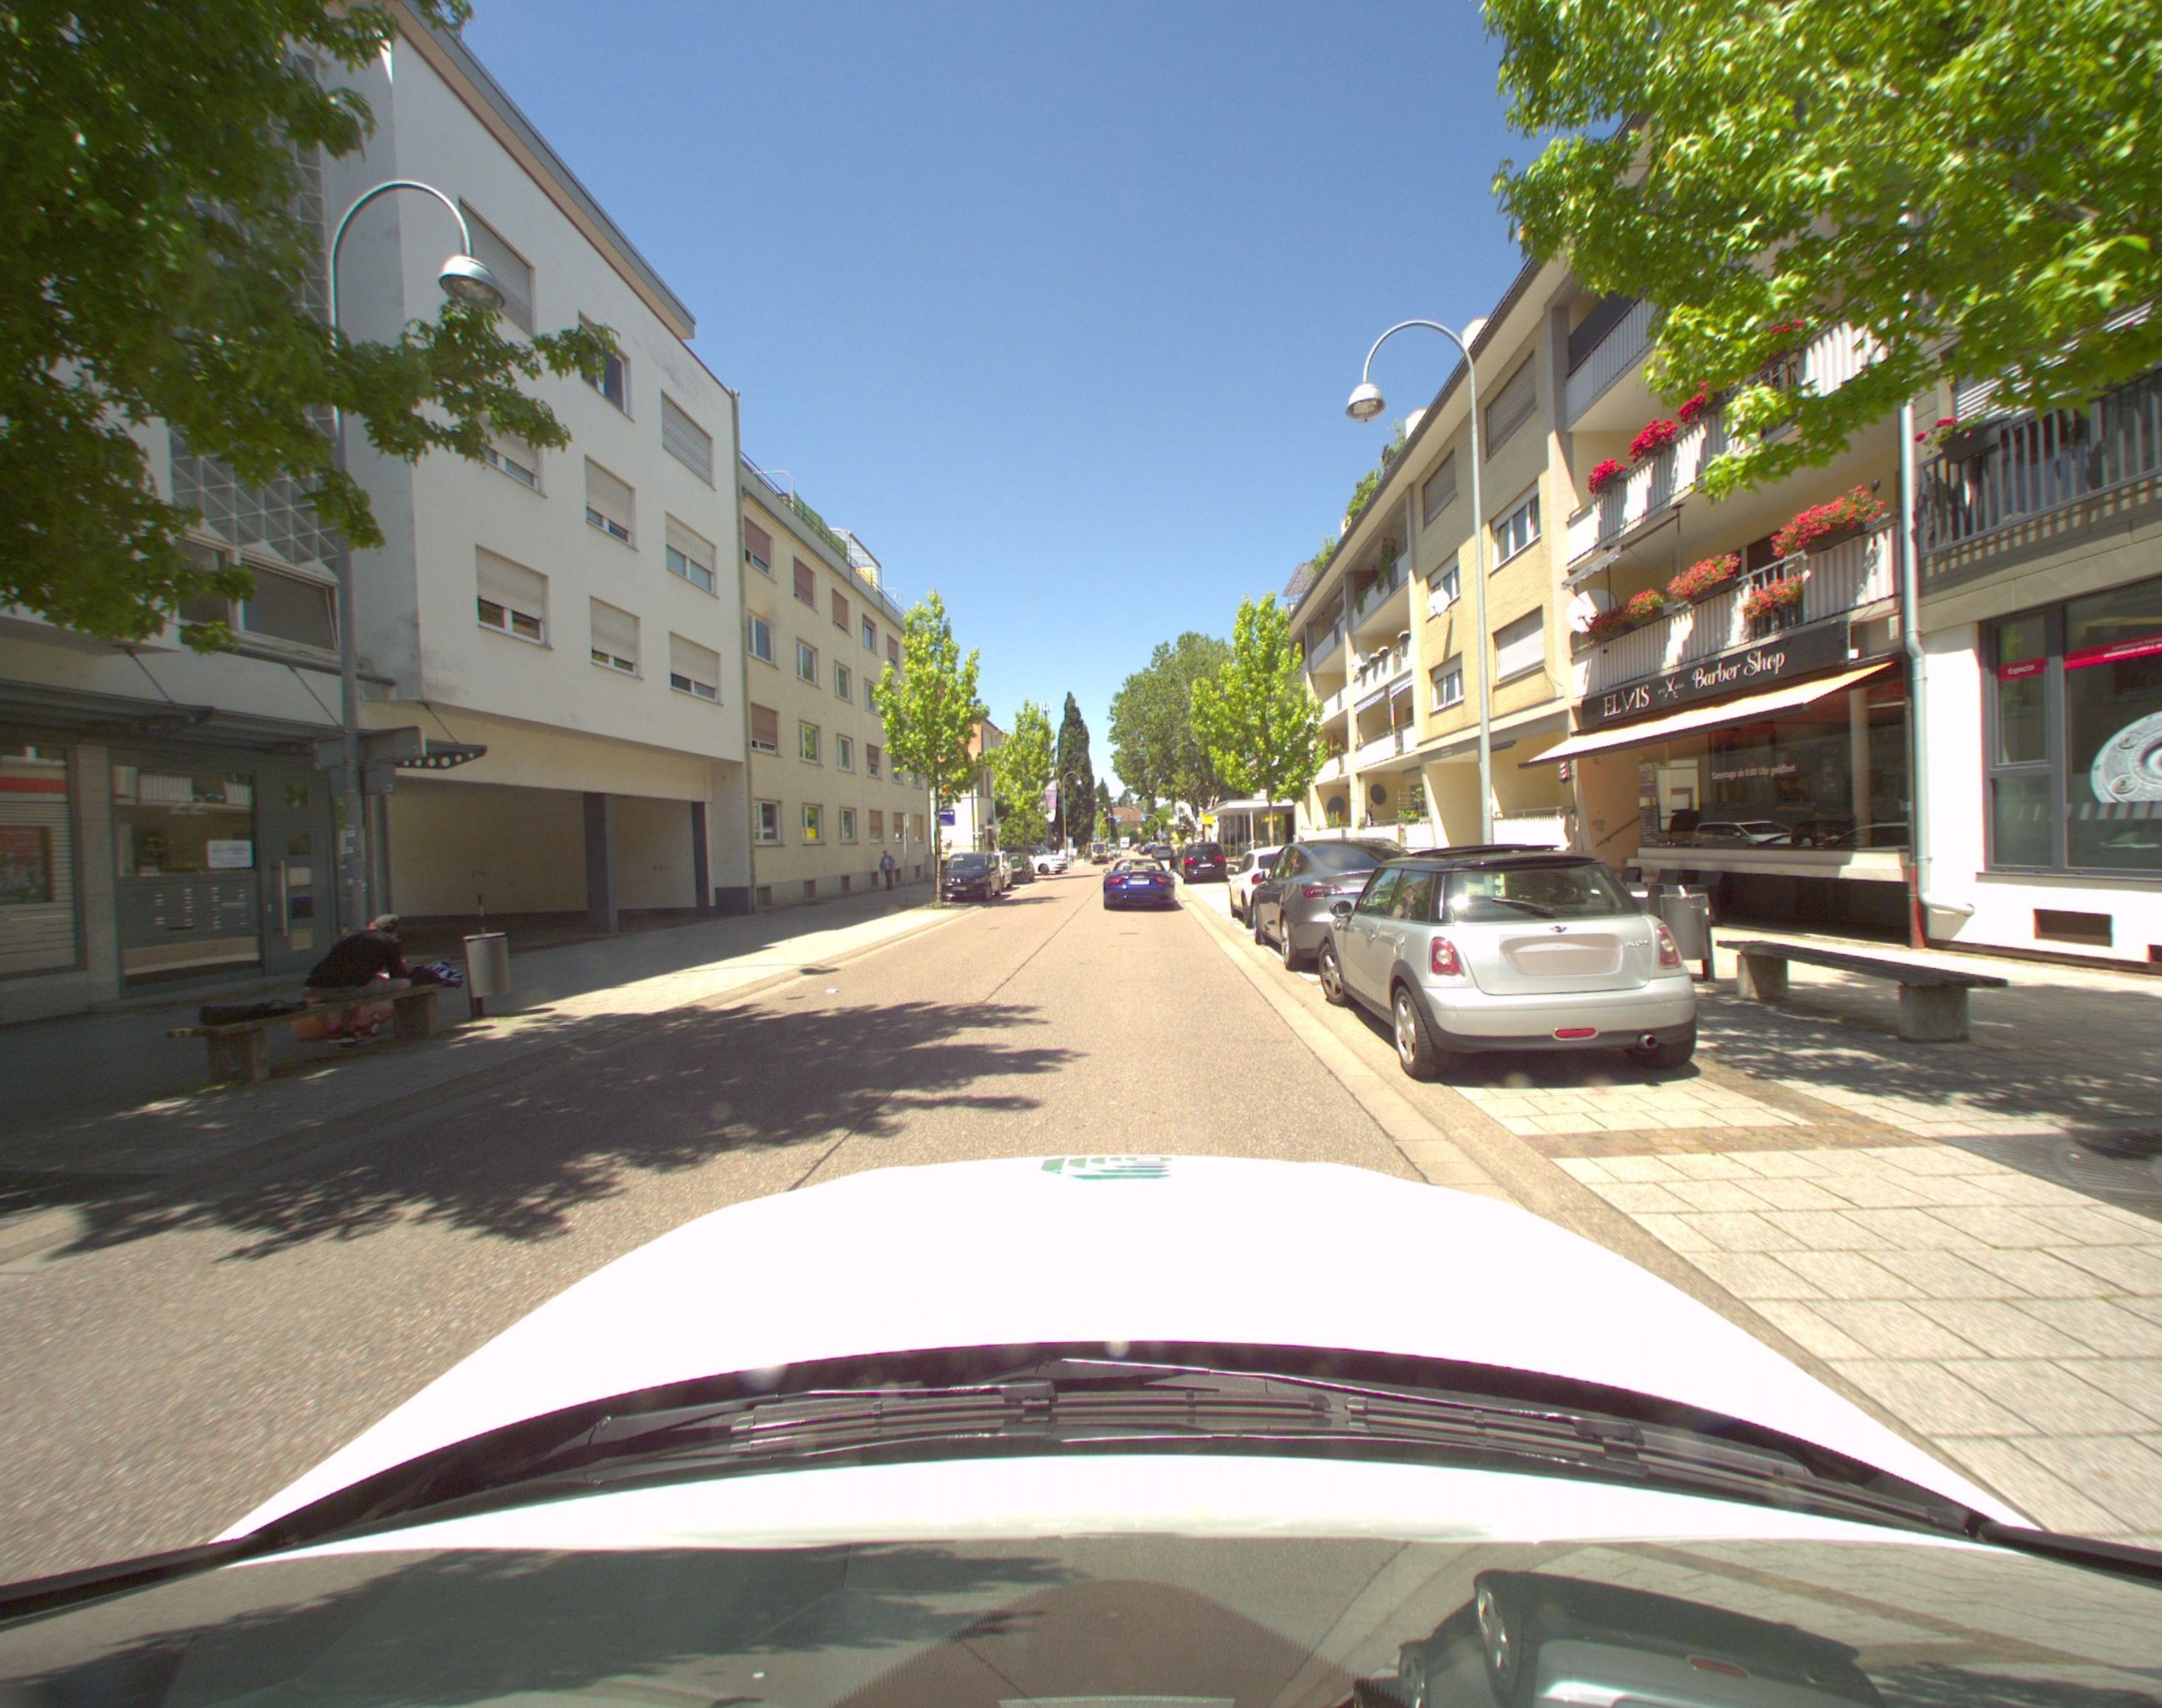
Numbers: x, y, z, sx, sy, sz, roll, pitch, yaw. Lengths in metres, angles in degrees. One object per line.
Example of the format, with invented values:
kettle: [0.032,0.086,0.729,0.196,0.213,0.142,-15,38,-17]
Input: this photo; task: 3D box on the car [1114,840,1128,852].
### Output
car: [5.552,-1.116,111.696,1.762,1.476,4.141,-3,1,3]

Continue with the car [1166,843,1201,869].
car: [6.040,0.097,48.371,1.836,1.414,4.168,-3,0,4]

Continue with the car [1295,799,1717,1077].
car: [2.959,0.477,6.649,1.615,1.559,3.845,-2,0,4]

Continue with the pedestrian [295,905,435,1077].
pedestrian: [-6.211,1.161,7.085,0.563,1.372,0.669,-3,0,13]

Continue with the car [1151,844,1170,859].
car: [9.105,-0.337,93.921,1.967,1.556,4.355,-3,1,4]

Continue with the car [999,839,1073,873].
car: [-2.912,0.157,51.994,1.924,1.922,4.845,-3,0,-44]

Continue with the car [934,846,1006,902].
car: [-3.797,0.634,28.590,1.722,1.740,4.396,1,1,3]

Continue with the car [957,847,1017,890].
car: [-3.848,0.561,34.118,1.817,1.619,4.396,0,1,3]

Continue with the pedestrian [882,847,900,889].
pedestrian: [-7.988,0.582,34.233,0.657,1.680,0.628,-4,3,-14]

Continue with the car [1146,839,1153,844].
car: [19.776,-3.637,236.295,1.941,1.476,4.144,-3,1,5]

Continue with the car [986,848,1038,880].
car: [-3.357,0.467,40.311,1.745,1.474,4.329,0,1,6]

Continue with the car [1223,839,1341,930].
car: [4.010,0.543,16.907,1.714,1.583,4.232,-3,0,5]

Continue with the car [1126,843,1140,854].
car: [7.466,-0.786,117.018,1.942,1.476,4.141,-3,1,3]

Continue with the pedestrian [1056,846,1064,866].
pedestrian: [-1.593,0.169,62.084,0.578,1.474,0.563,-2,0,-4]

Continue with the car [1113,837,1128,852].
car: [4.865,-1.210,100.583,1.762,1.767,4.141,-3,1,3]

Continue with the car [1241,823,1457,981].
car: [3.480,0.523,11.537,1.756,1.705,4.711,-3,0,4]

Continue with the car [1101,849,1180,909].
car: [1.628,0.623,22.741,1.968,1.398,4.632,1,1,3]

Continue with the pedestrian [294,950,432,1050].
pedestrian: [-6.938,1.396,7.895,0.660,0.858,0.735,-3,-4,13]

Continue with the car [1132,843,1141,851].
car: [11.156,-1.375,163.300,1.762,1.476,4.141,-1,0,3]

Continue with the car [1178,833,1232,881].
car: [5.268,0.069,35.143,1.983,1.798,4.577,-3,2,6]

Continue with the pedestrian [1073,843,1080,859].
pedestrian: [-0.483,-0.321,81.015,0.584,1.574,0.782,-1,0,3]

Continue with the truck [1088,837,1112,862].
truck: [1.775,-0.424,73.817,1.796,2.117,4.720,-3,1,4]

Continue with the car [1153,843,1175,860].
car: [8.279,-0.278,81.688,1.967,1.450,4.355,-3,1,4]

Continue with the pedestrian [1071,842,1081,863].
pedestrian: [-0.524,-0.155,81.013,0.846,1.915,0.761,-3,3,0]
